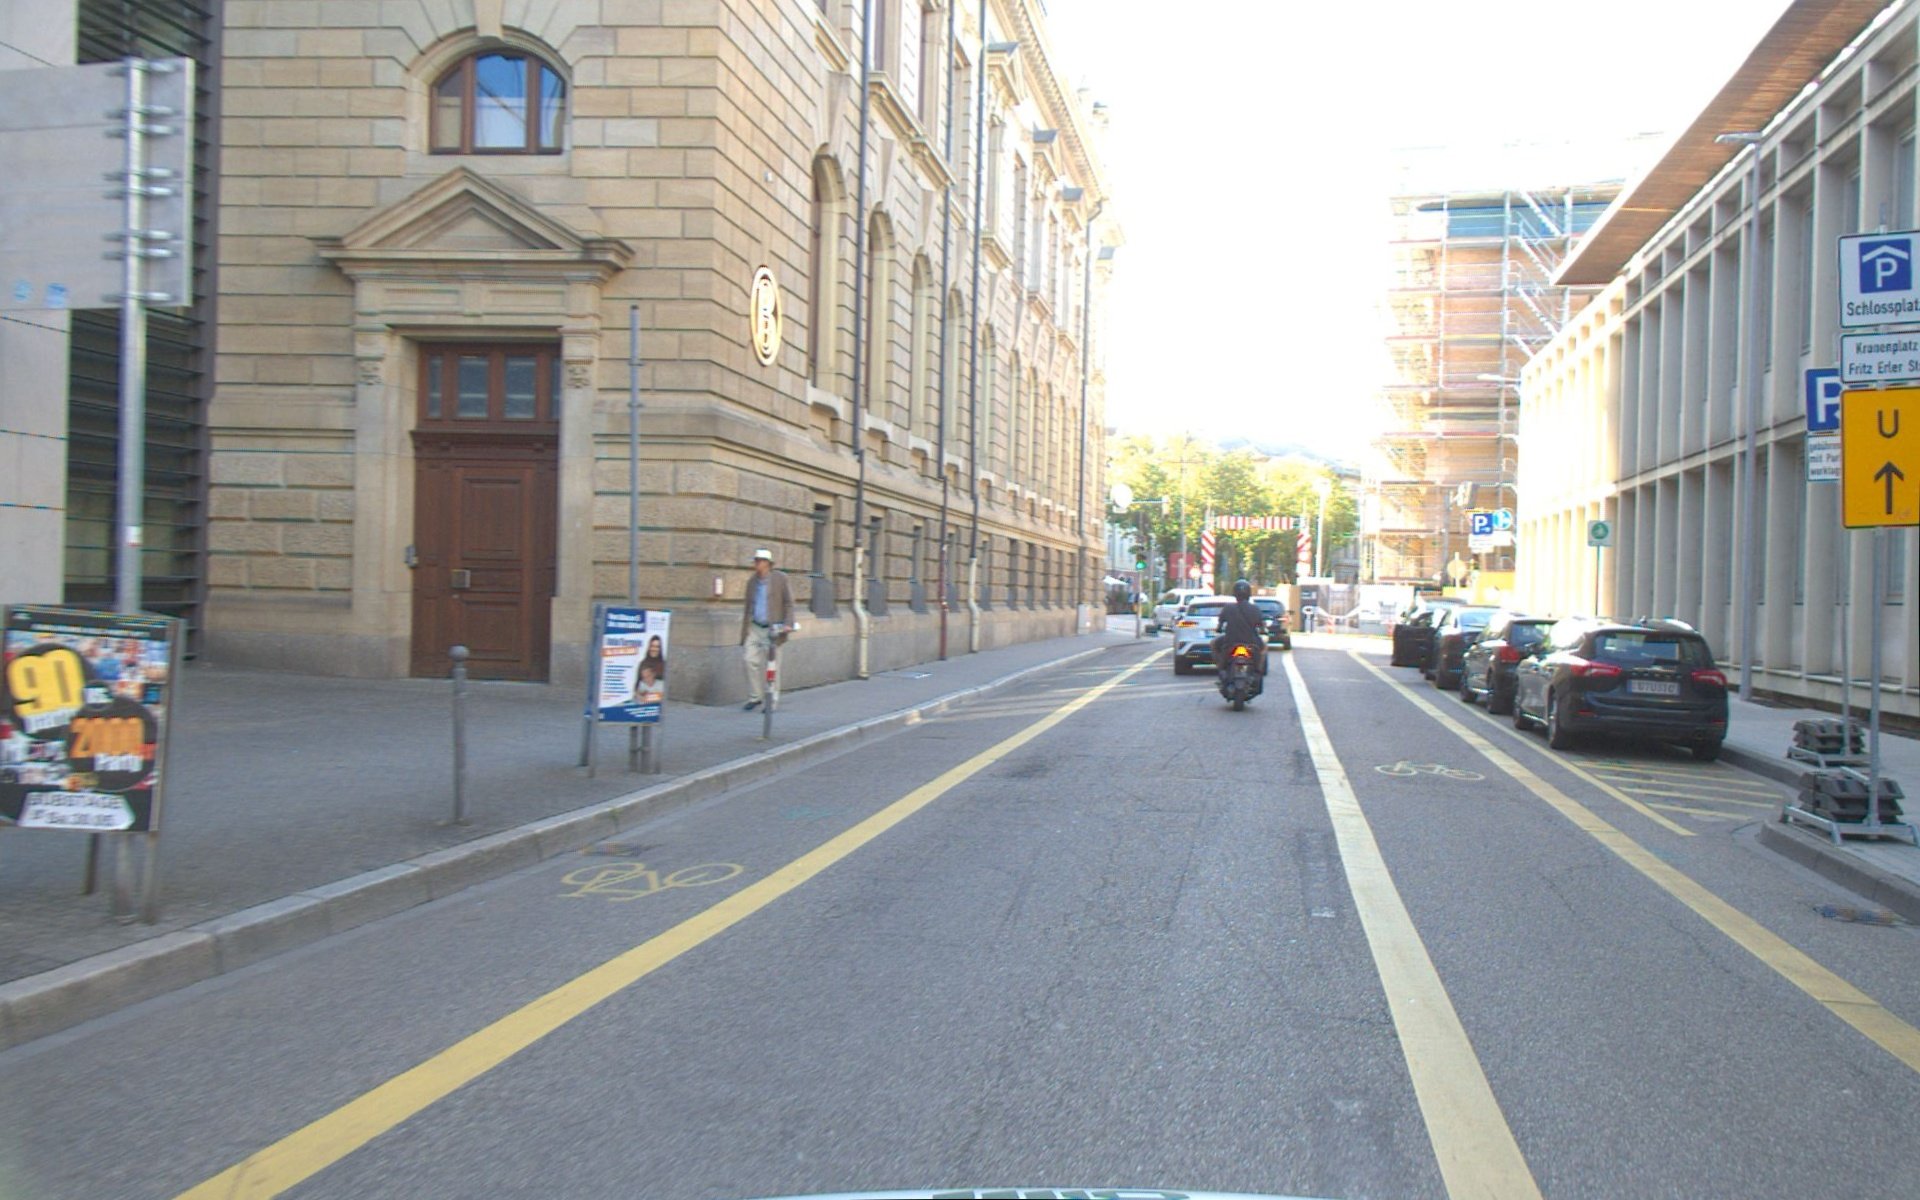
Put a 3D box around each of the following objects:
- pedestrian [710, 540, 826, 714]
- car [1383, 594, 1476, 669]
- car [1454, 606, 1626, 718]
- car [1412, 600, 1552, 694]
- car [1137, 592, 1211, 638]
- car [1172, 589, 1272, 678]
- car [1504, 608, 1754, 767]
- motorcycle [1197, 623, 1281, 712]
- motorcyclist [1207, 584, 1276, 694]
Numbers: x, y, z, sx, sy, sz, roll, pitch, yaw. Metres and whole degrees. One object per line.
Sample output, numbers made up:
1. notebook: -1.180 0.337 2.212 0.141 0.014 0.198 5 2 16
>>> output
1. pedestrian: -2.137 0.300 18.534 0.823 1.831 1.074 5 0 13
2. car: 12.288 0.770 43.498 1.786 1.728 4.671 3 1 10
3. car: 8.683 0.897 25.093 1.743 1.505 4.292 1 -1 9
4. car: 9.670 0.815 30.962 1.786 1.527 4.740 3 0 10
5. car: 8.834 0.599 68.767 1.956 1.693 4.351 -1 2 -8
6. car: 5.132 0.631 32.768 1.784 1.568 4.267 2 0 8
7. car: 7.635 0.915 19.296 1.744 1.505 4.292 3 1 9
8. motorcycle: 3.780 0.886 22.291 0.854 1.129 1.840 1 -1 18
9. motorcyclist: 3.838 0.526 22.516 0.849 1.452 0.456 1 -1 19
